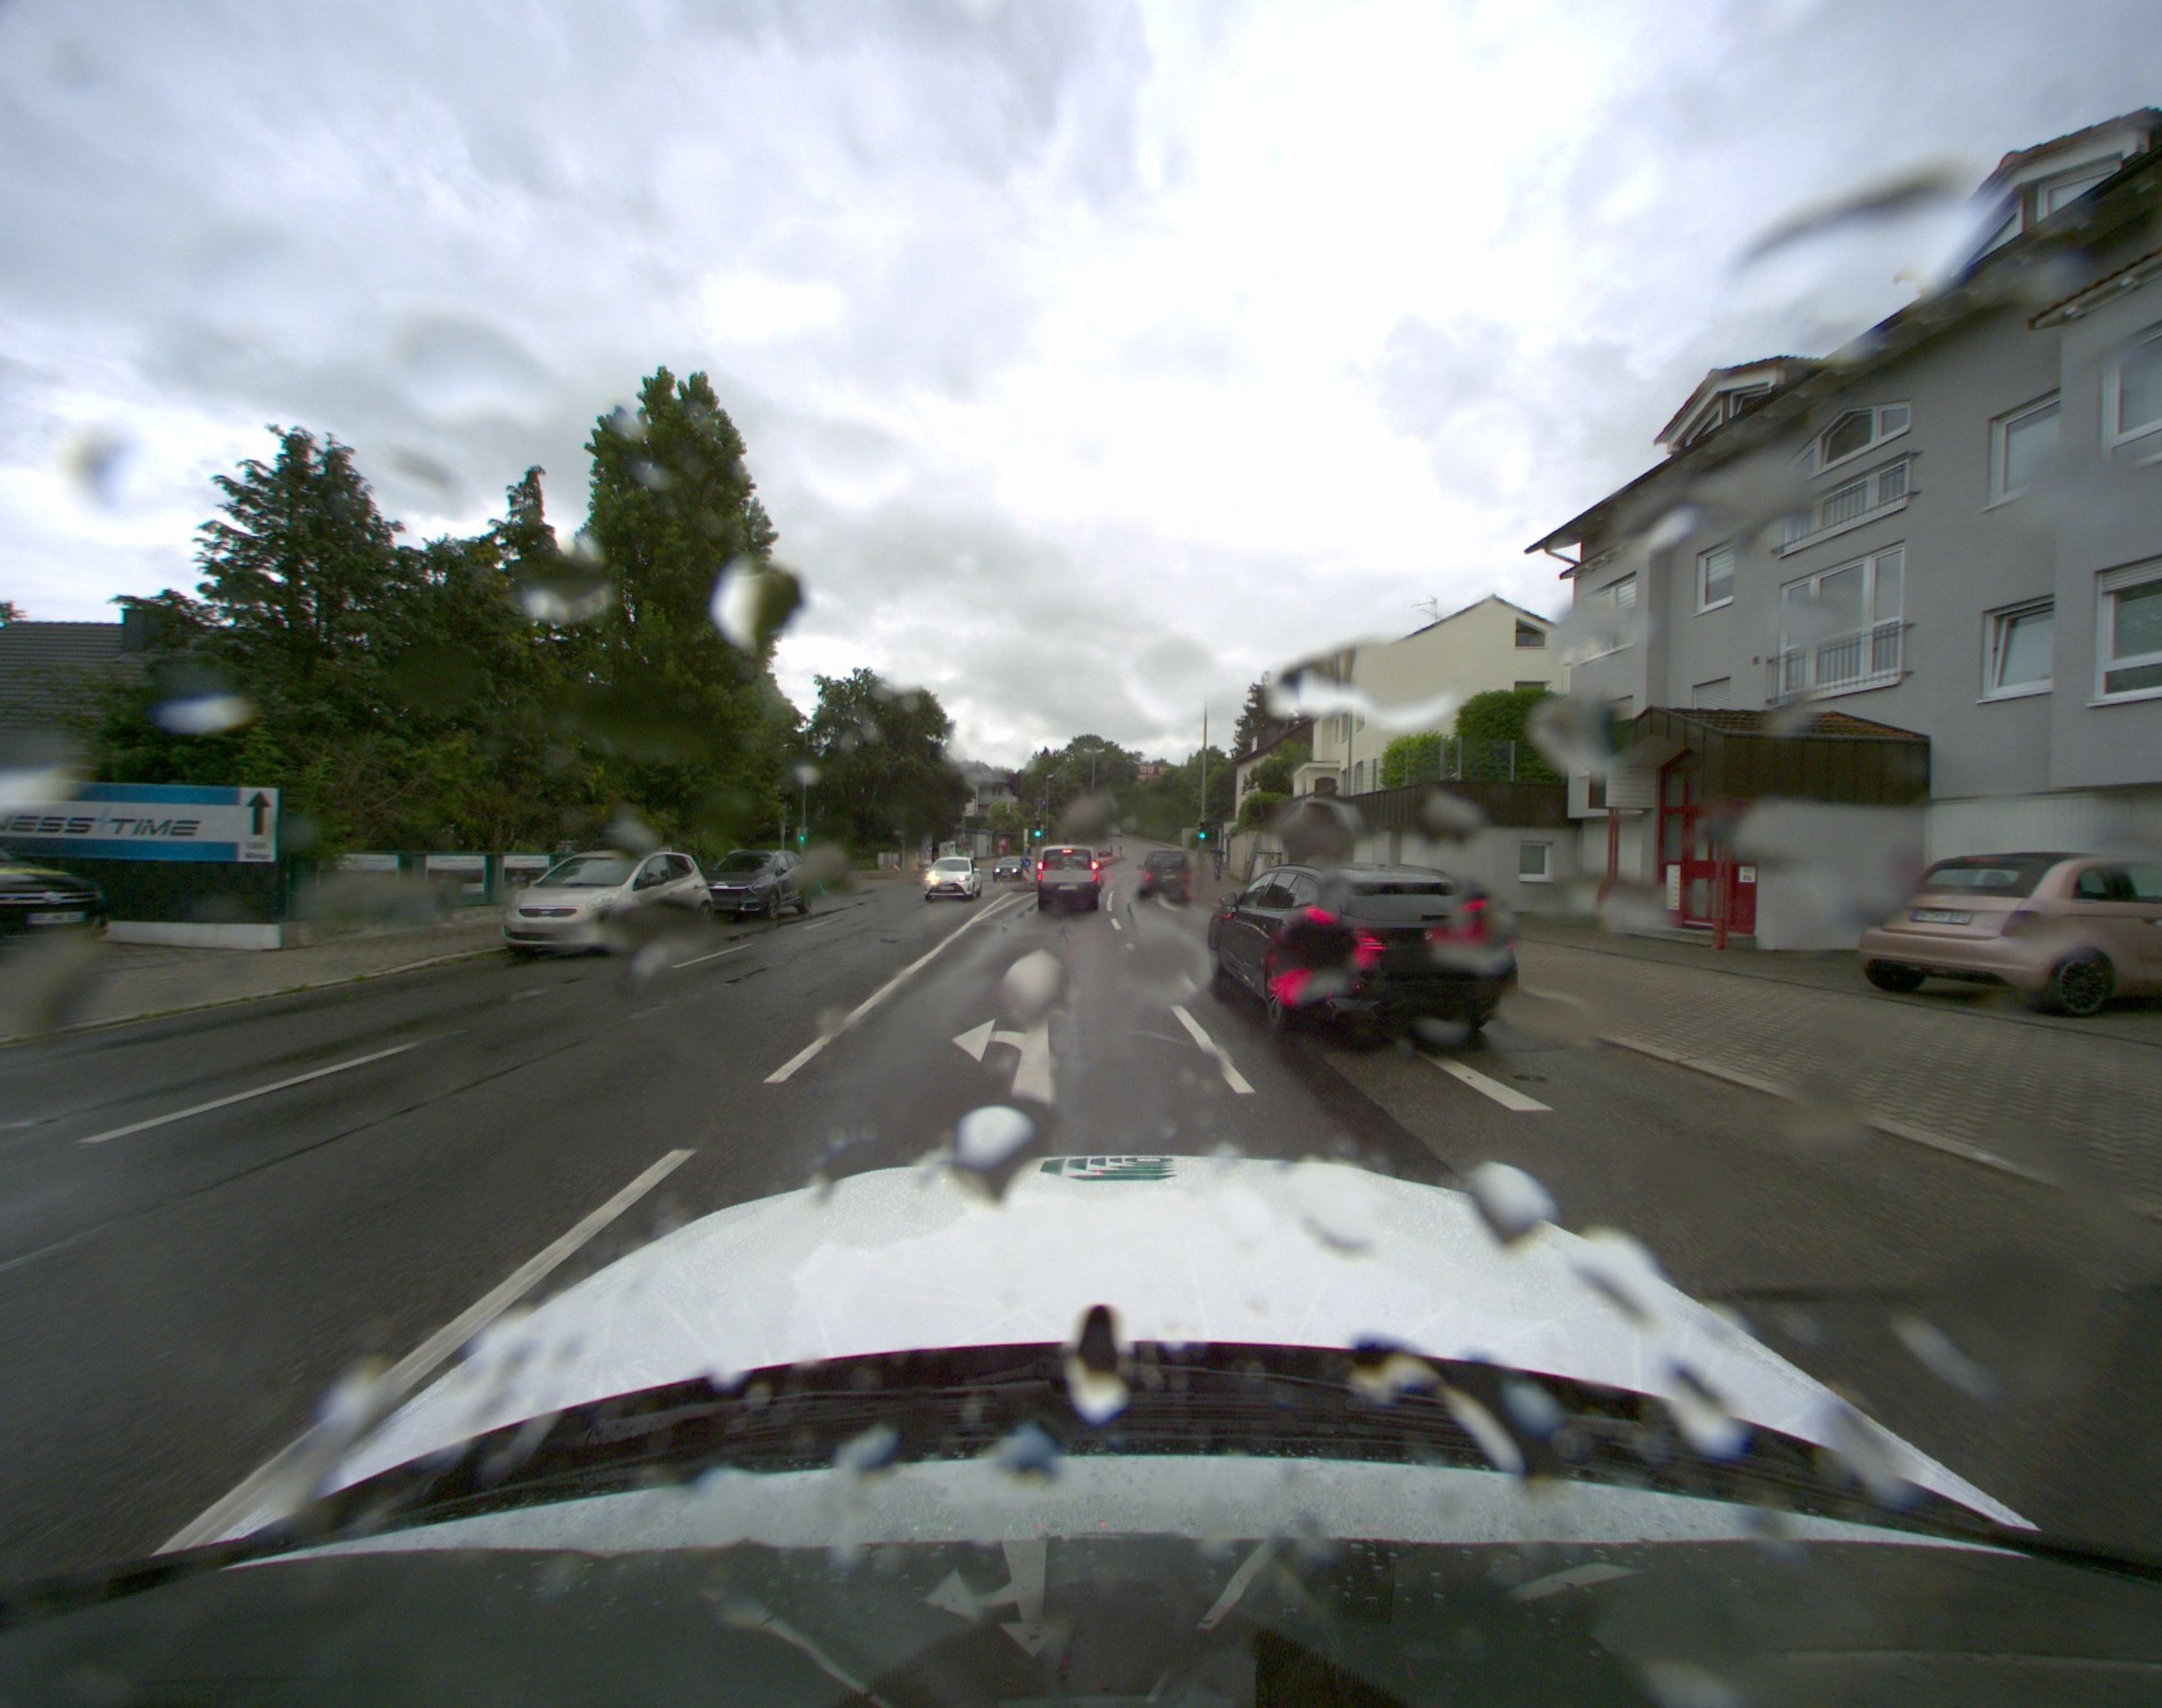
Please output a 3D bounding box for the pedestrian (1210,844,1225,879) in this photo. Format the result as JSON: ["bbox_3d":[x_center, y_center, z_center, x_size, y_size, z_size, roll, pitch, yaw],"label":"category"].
[{"bbox_3d":[7.885,0.410,47.110,0.793,2.014,0.735,1,-1,5],"label":"pedestrian"}]

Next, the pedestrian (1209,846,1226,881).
[{"bbox_3d":[7.032,0.475,41.933,0.790,1.780,1.013,-1,-1,5],"label":"pedestrian"}]

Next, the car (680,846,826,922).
[{"bbox_3d":[-7.941,0.684,20.251,1.799,1.669,4.596,0,-1,-1],"label":"car"}]

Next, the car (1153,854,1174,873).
[{"bbox_3d":[7.776,0.870,76.961,1.843,1.661,4.005,1,1,4],"label":"car"}]

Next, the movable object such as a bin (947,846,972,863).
[{"bbox_3d":[-12.103,0.034,81.186,2.045,1.568,1.586,0,2,10],"label":"movable object such as a bin"}]

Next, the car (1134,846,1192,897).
[{"bbox_3d":[2.980,0.610,30.331,1.985,1.748,4.003,0,0,3],"label":"car"}]

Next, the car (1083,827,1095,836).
[{"bbox_3d":[1.500,-4.100,151.533,1.838,1.552,4.376,-1,0,-5],"label":"car"}]

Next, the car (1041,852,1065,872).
[{"bbox_3d":[-2.228,0.602,64.336,1.848,1.464,3.997,0,0,-2],"label":"car"}]

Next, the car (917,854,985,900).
[{"bbox_3d":[-4.611,0.766,29.461,1.827,1.530,3.999,0,0,-1],"label":"car"}]

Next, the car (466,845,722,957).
[{"bbox_3d":[-7.780,0.685,13.567,1.799,1.568,4.141,0,-1,-1],"label":"car"}]

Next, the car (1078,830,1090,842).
[{"bbox_3d":[0.508,-3.052,140.060,1.988,2.013,3.997,0,0,-2],"label":"car"}]

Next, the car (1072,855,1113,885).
[{"bbox_3d":[0.632,0.792,41.785,1.826,1.487,4.064,0,0,5],"label":"car"}]

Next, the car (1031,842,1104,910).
[{"bbox_3d":[-0.303,0.606,25.003,1.943,1.871,4.749,0,0,2],"label":"car"}]

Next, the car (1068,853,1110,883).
[{"bbox_3d":[0.478,0.747,44.135,1.899,1.528,4.658,0,0,5],"label":"car"}]

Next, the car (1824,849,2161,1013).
[{"bbox_3d":[10.280,0.722,8.504,3.627,1.485,1.809,1,0,-6],"label":"car"}]

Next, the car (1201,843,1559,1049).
[{"bbox_3d":[2.680,0.779,8.686,1.988,1.586,4.659,0,-2,-2],"label":"car"}]

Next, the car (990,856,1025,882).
[{"bbox_3d":[-4.458,0.883,49.785,1.706,1.503,4.000,0,0,1],"label":"car"}]

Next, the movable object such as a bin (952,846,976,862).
[{"bbox_3d":[-11.832,-0.027,82.638,2.045,1.514,1.348,0,2,10],"label":"movable object such as a bin"}]

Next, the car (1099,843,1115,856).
[{"bbox_3d":[3.238,-0.607,103.418,1.986,1.574,4.000,0,-1,1],"label":"car"}]

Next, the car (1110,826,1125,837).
[{"bbox_3d":[6.948,-4.242,155.991,1.994,2.013,3.985,0,0,-11],"label":"car"}]

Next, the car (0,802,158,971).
[{"bbox_3d":[-13.423,0.207,9.035,4.168,1.720,1.739,5,0,-1],"label":"car"}]

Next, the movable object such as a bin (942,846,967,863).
[{"bbox_3d":[-12.364,0.014,79.602,2.045,1.568,1.586,0,2,10],"label":"movable object such as a bin"}]
